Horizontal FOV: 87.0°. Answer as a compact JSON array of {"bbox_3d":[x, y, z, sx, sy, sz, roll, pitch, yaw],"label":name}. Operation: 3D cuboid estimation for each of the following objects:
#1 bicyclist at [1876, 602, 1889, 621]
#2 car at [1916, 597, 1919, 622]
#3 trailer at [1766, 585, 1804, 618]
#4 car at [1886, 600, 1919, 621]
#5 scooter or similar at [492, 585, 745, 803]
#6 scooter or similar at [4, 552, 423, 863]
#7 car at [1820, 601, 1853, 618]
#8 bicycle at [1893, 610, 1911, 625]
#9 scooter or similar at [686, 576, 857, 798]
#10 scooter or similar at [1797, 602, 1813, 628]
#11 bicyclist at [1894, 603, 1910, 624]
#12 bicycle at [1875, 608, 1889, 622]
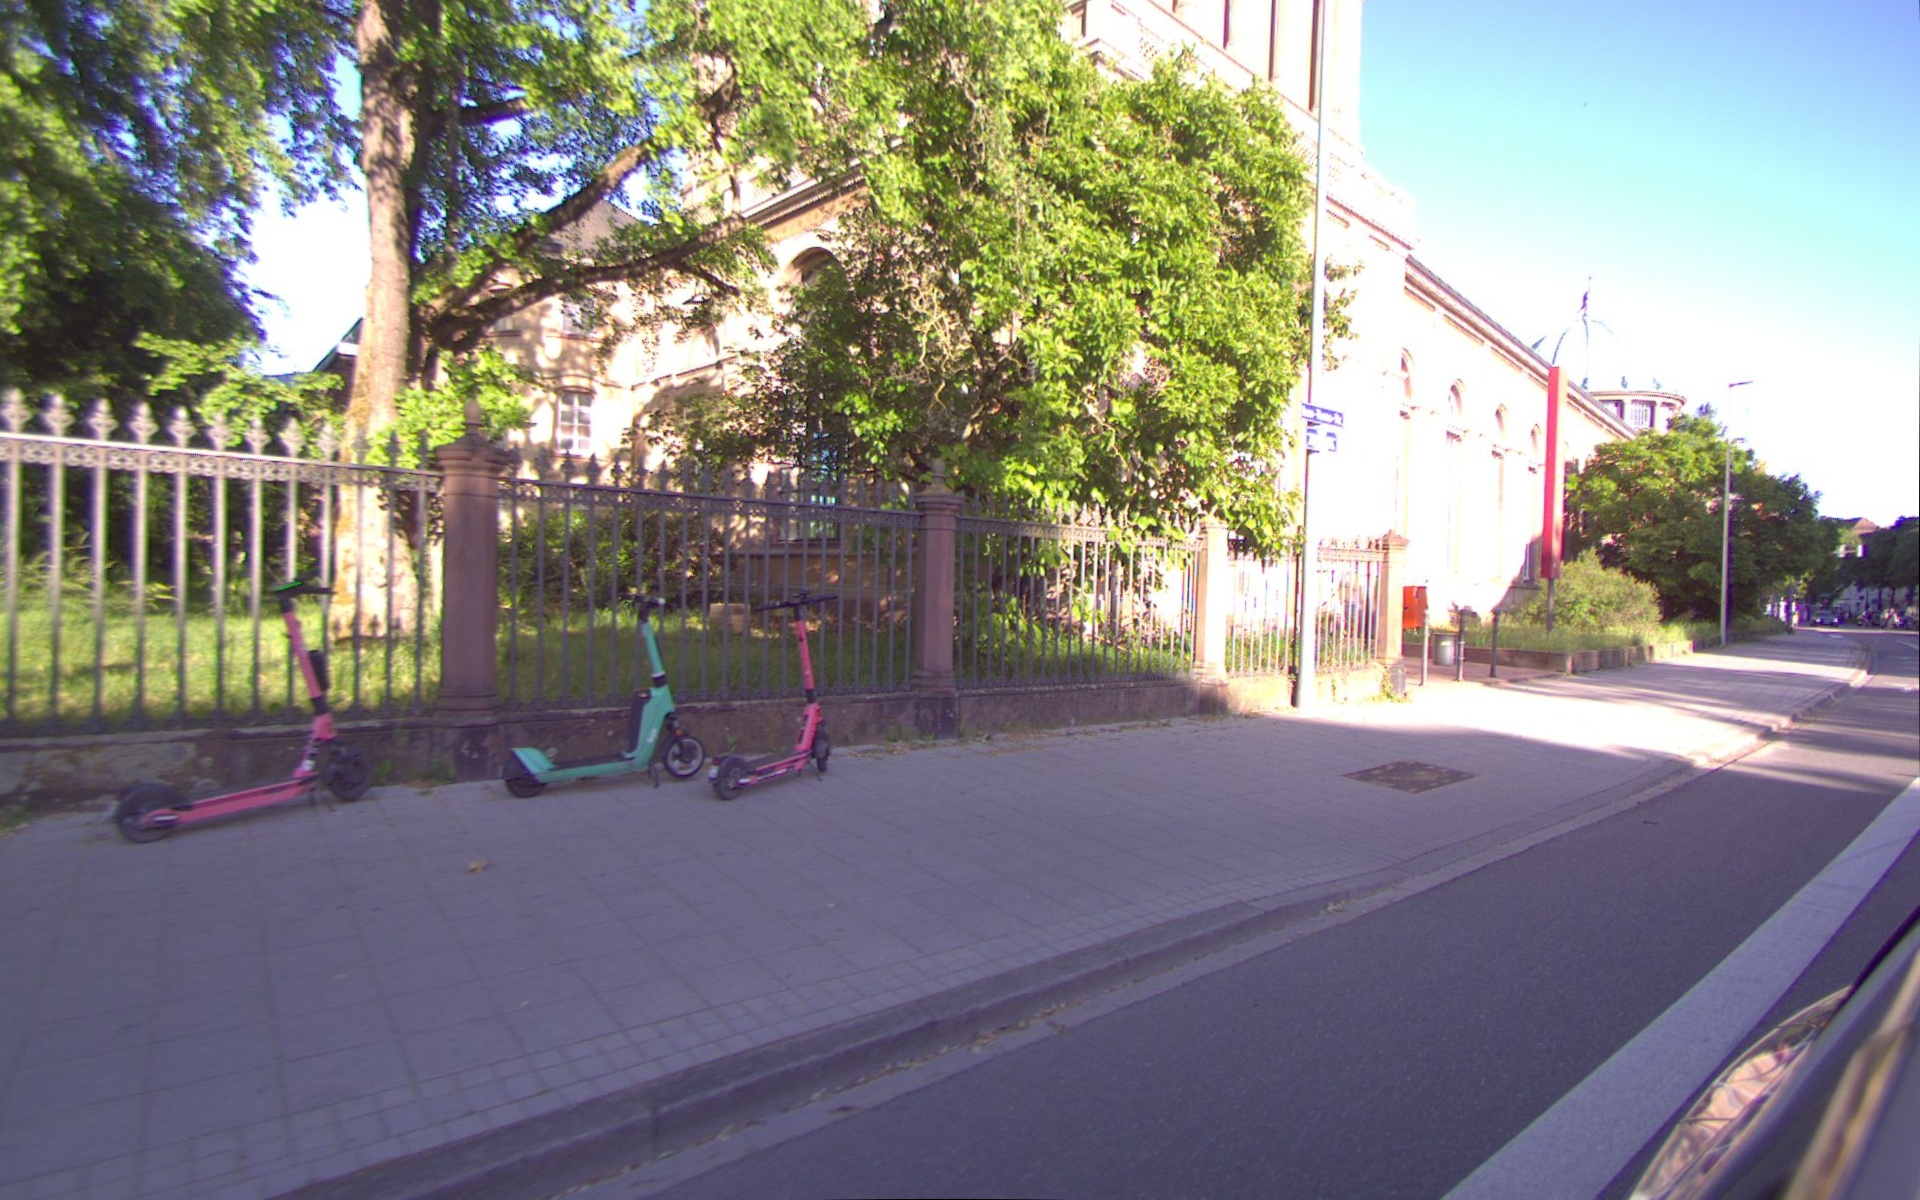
[{"bbox_3d":[79.735,0.982,87.484,0.670,1.673,0.876,1,0,35],"label":"bicyclist"},{"bbox_3d":[76.896,0.804,79.280,2.061,1.939,4.972,3,2,34],"label":"car"},{"bbox_3d":[69.136,0.127,84.847,2.075,2.559,4.433,5,2,36],"label":"trailer"},{"bbox_3d":[82.124,0.902,87.612,1.983,1.771,4.693,3,1,32],"label":"car"},{"bbox_3d":[-1.989,0.498,5.991,1.314,1.136,0.481,0,2,-43],"label":"scooter or similar"},{"bbox_3d":[-3.531,0.425,4.921,0.546,1.258,1.539,3,2,33],"label":"scooter or similar"},{"bbox_3d":[78.622,0.851,90.828,1.543,1.311,3.597,6,4,32],"label":"car"},{"bbox_3d":[74.065,1.382,79.554,0.827,1.157,1.943,1,1,37],"label":"bicycle"},{"bbox_3d":[-1.146,0.492,6.319,0.296,1.255,1.147,3,2,34],"label":"scooter or similar"},{"bbox_3d":[44.918,0.795,53.789,0.555,1.325,1.804,3,1,42],"label":"scooter or similar"},{"bbox_3d":[74.171,1.048,79.685,0.801,1.628,0.814,3,1,38],"label":"bicyclist"},{"bbox_3d":[79.678,1.291,87.423,0.667,1.086,1.730,1,1,36],"label":"bicycle"}]
